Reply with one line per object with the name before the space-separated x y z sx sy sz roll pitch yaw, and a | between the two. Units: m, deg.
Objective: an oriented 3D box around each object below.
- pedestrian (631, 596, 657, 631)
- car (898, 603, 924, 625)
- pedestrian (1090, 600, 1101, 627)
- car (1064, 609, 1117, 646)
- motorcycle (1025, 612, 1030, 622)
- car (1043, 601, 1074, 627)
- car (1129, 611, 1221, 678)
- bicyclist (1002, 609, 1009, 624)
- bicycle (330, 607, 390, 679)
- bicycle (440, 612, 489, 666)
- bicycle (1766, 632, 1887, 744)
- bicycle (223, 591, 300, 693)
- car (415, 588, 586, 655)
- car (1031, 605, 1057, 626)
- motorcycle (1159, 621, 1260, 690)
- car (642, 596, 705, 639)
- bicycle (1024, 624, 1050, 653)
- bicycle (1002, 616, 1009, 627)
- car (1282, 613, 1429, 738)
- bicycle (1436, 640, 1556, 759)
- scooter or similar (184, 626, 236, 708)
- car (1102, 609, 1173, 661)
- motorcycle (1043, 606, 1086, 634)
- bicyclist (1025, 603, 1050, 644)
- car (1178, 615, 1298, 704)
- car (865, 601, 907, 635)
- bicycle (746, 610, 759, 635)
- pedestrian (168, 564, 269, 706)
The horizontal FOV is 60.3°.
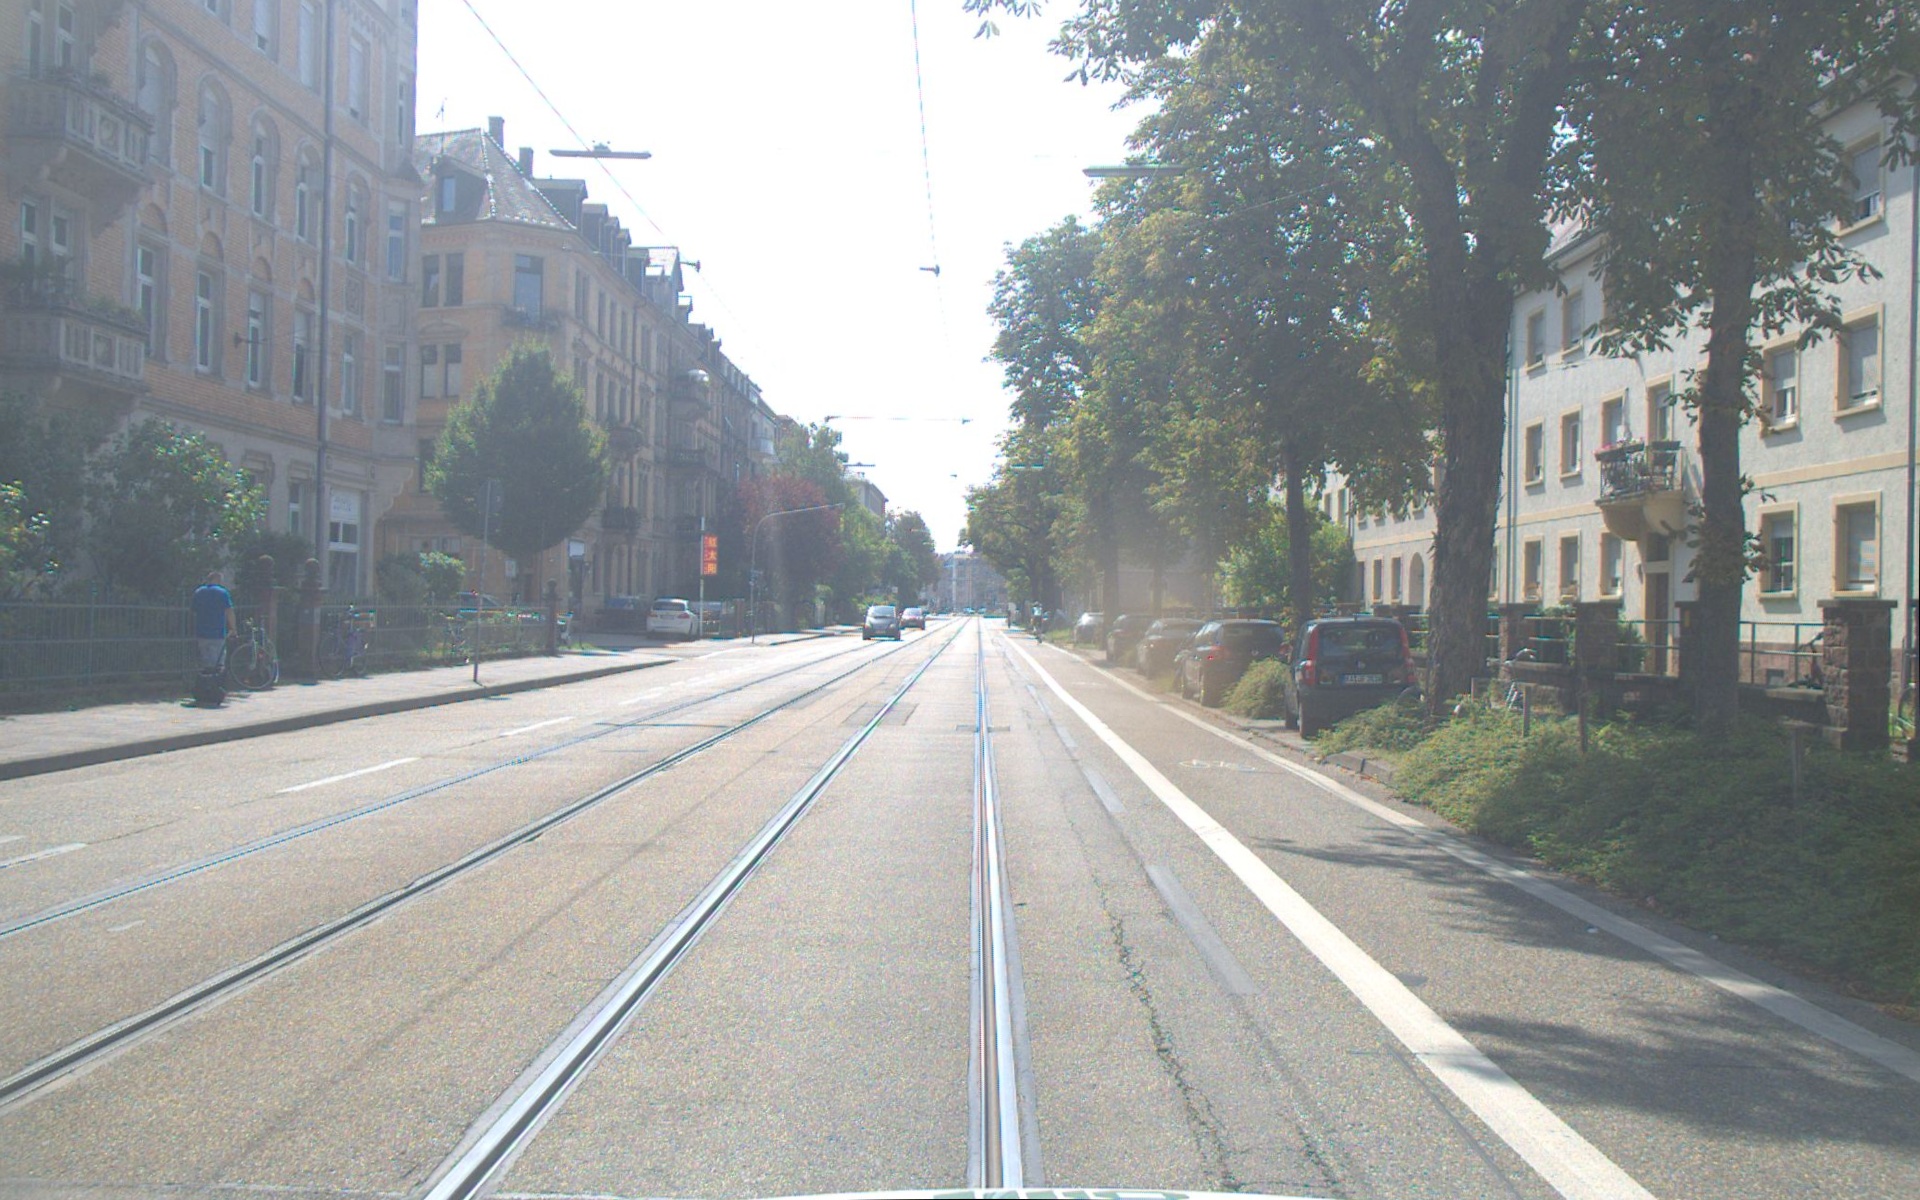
pedestrian | -13.982 0.587 73.212 0.874 1.537 0.861 1 0 -30
car | -3.438 0.991 116.952 1.696 1.516 4.000 1 0 0
pedestrian | 9.455 0.947 115.591 0.692 1.925 0.714 1 -1 2
car | 5.460 1.134 69.744 1.853 1.503 4.840 1 0 0
motorcycle | 7.270 1.805 178.466 0.537 1.086 2.330 1 -1 1
car | 6.454 0.933 108.765 1.803 1.559 4.115 1 1 0
car | 5.261 1.068 41.008 1.719 1.503 4.457 -2 -1 1
bicyclist | 3.994 1.465 145.421 0.567 1.301 0.471 1 -1 3
bicycle | -10.086 0.703 27.839 0.382 1.168 1.582 1 0 1
bicycle | -10.064 0.781 33.653 0.382 1.056 1.833 1 0 2
bicycle | 9.858 0.979 18.874 0.458 1.180 1.717 1 0 0
bicycle | -10.162 0.594 24.119 0.382 1.430 1.582 1 0 1
car | -12.351 0.561 44.622 4.016 1.622 1.879 2 0 2
car | 6.350 1.165 125.518 1.803 1.559 4.779 0 0 0
motorcycle | 5.237 1.151 34.768 1.963 1.392 0.782 1 0 -2
car | -11.498 0.693 66.568 1.954 1.622 4.357 1 0 -3
bicycle | 3.566 1.773 76.810 1.124 1.291 2.713 1 0 2
bicycle | 3.982 1.863 145.376 0.575 0.955 2.172 1 -1 3
car | 5.320 0.959 22.597 1.582 1.557 3.501 0 0 7
bicycle | 5.337 0.970 16.434 1.376 1.128 0.385 1 -1 -36
scooter or similar | -9.433 0.837 20.823 0.392 0.999 0.583 3 -1 -7
car | 5.487 1.056 51.632 1.719 1.503 4.386 1 0 0
motorcycle | 5.892 1.140 93.132 2.304 1.567 0.963 -2 -3 42
bicyclist | 3.580 1.108 76.674 1.102 1.869 0.956 1 -1 1
car | 5.034 1.038 30.369 1.583 1.503 4.039 0 0 1
car | -3.452 0.828 77.910 1.789 1.567 4.000 1 0 0
bicycle | -9.522 1.017 75.976 0.382 1.118 1.568 1 0 -2
pedestrian | -9.638 0.446 21.524 0.865 1.786 0.870 1 0 1
